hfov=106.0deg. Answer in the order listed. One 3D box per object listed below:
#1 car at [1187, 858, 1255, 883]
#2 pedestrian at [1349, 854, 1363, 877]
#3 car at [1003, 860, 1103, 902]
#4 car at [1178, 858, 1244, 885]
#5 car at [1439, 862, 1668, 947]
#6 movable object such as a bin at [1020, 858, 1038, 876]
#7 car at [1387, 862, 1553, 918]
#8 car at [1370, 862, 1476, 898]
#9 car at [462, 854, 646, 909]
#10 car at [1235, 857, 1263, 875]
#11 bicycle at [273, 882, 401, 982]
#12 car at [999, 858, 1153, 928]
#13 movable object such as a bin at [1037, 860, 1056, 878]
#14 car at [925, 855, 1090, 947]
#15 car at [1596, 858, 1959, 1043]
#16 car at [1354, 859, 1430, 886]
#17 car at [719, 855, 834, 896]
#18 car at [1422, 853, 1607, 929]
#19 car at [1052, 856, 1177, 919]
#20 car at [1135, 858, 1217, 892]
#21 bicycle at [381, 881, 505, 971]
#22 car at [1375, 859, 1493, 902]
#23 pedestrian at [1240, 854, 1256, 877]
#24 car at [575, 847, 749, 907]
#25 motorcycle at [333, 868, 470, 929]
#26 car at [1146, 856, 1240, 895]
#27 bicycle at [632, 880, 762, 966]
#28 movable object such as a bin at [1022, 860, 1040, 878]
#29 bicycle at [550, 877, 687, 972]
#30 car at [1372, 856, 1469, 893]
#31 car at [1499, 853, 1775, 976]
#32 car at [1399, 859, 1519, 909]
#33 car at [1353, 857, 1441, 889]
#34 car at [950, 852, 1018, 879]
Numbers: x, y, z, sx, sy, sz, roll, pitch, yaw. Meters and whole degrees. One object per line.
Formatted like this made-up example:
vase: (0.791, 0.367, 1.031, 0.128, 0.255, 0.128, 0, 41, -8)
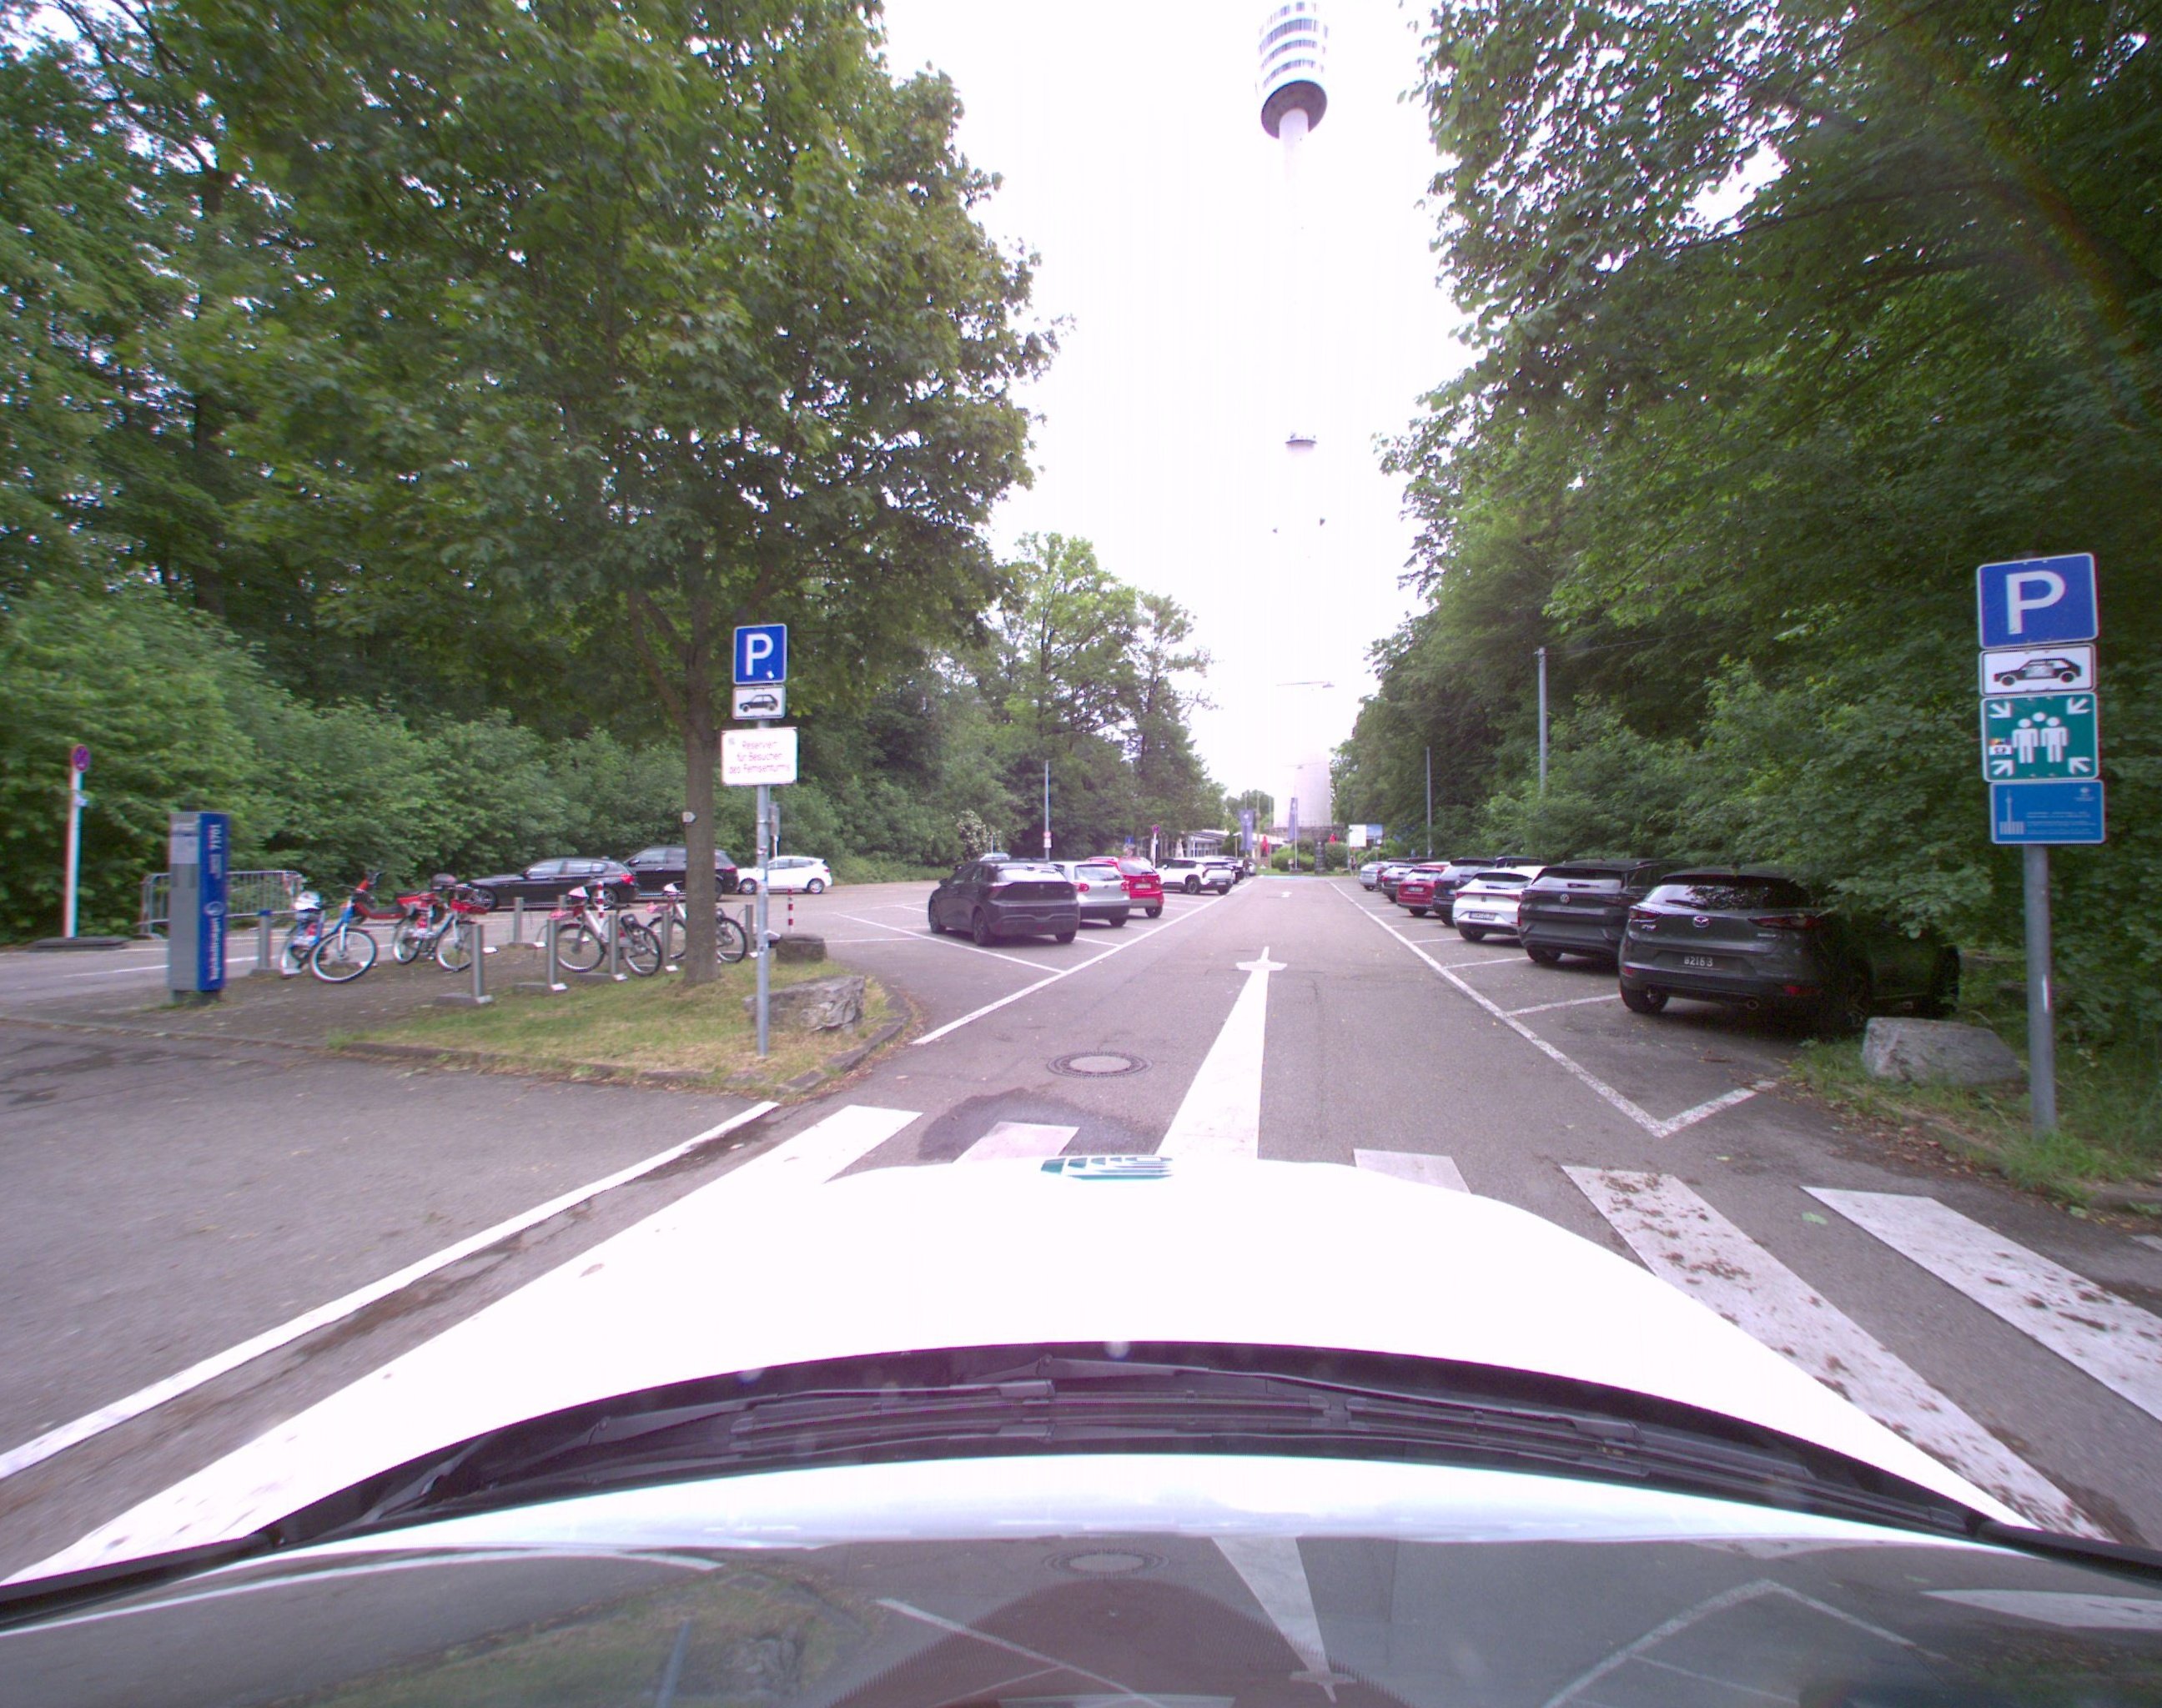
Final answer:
car: (8.478, 0.981, 49.574, 1.766, 1.443, 4.236, 0, 0, -31)
pedestrian: (20.736, 0.850, 61.327, 0.754, 1.725, 0.902, 0, -1, 37)
car: (-1.131, 0.955, 30.536, 1.876, 1.442, 4.272, 0, 0, -32)
car: (7.394, 0.966, 46.745, 1.777, 1.443, 3.810, 0, 0, -29)
car: (9.052, 0.877, 15.588, 4.128, 1.438, 1.853, 1, -1, -27)
movable object such as a bin: (-4.001, 0.988, 62.564, 1.116, 1.320, 1.244, 0, -1, 11)
car: (10.782, 0.945, 22.562, 4.303, 1.414, 1.912, 1, -1, -26)
car: (14.096, 1.016, 33.506, 4.277, 1.377, 1.946, 0, 0, -32)
car: (-14.021, 0.711, 21.972, 4.011, 1.376, 1.724, 1, -1, -29)
car: (13.567, 0.960, 65.573, 1.878, 1.428, 4.017, 0, 0, 17)
bicycle: (-9.065, 0.911, 9.914, 1.677, 1.111, 0.485, 0, -1, 23)
car: (-0.237, 0.854, 19.437, 1.883, 1.483, 3.959, 1, -1, -32)
movable object such as a bin: (-2.572, 1.106, 60.936, 1.170, 1.307, 1.307, 0, -1, -14)
car: (-1.571, 0.802, 15.806, 1.834, 1.523, 4.064, 1, -1, -27)
car: (7.133, 0.795, 8.280, 3.804, 1.492, 1.683, 1, -1, -31)
car: (18.118, 1.058, 47.460, 4.216, 1.462, 1.881, 1, 0, -29)
car: (-11.886, 0.812, 31.835, 4.011, 1.510, 1.852, 0, 0, -29)
car: (10.251, 0.816, 19.240, 4.128, 1.618, 1.826, 1, -1, -27)
car: (0.847, 0.848, 22.436, 1.693, 1.585, 3.617, 0, 0, -32)
car: (4.644, 0.999, 40.287, 1.881, 1.554, 3.956, 0, 0, -36)
bicycle: (-8.527, 0.931, 10.879, 1.665, 1.111, 0.508, 0, -1, 21)
car: (12.878, 0.931, 29.688, 4.198, 1.457, 1.788, 0, 0, -30)
pedestrian: (12.445, 0.880, 60.838, 0.898, 1.725, 0.758, 0, 0, -23)
car: (-13.138, 0.674, 25.736, 4.721, 1.767, 2.092, 0, 0, -29)
motorcycle: (-14.072, 0.895, 16.930, 2.029, 1.208, 0.726, 1, -1, -20)
car: (4.837, 0.870, 35.578, 1.853, 1.596, 4.148, 0, 0, -32)
bicycle: (-5.364, 0.934, 11.366, 1.768, 1.111, 0.485, 0, -1, 18)
movable object such as a bin: (-3.715, 1.098, 60.574, 1.125, 1.315, 1.179, 0, -1, -14)
bicycle: (-5.815, 0.860, 10.231, 1.666, 1.111, 0.485, 0, -1, 18)
car: (15.657, 0.918, 37.523, 4.275, 1.636, 1.947, 0, 0, -30)
car: (8.503, 0.797, 12.375, 4.217, 1.580, 1.938, 1, -1, -32)
car: (12.275, 0.934, 26.438, 3.591, 1.505, 1.719, 0, 0, -28)
car: (15.699, 0.912, 40.430, 4.007, 1.467, 1.820, 0, 0, -26)
car: (-6.469, 0.755, 54.332, 4.082, 1.685, 1.863, 0, -1, -29)
